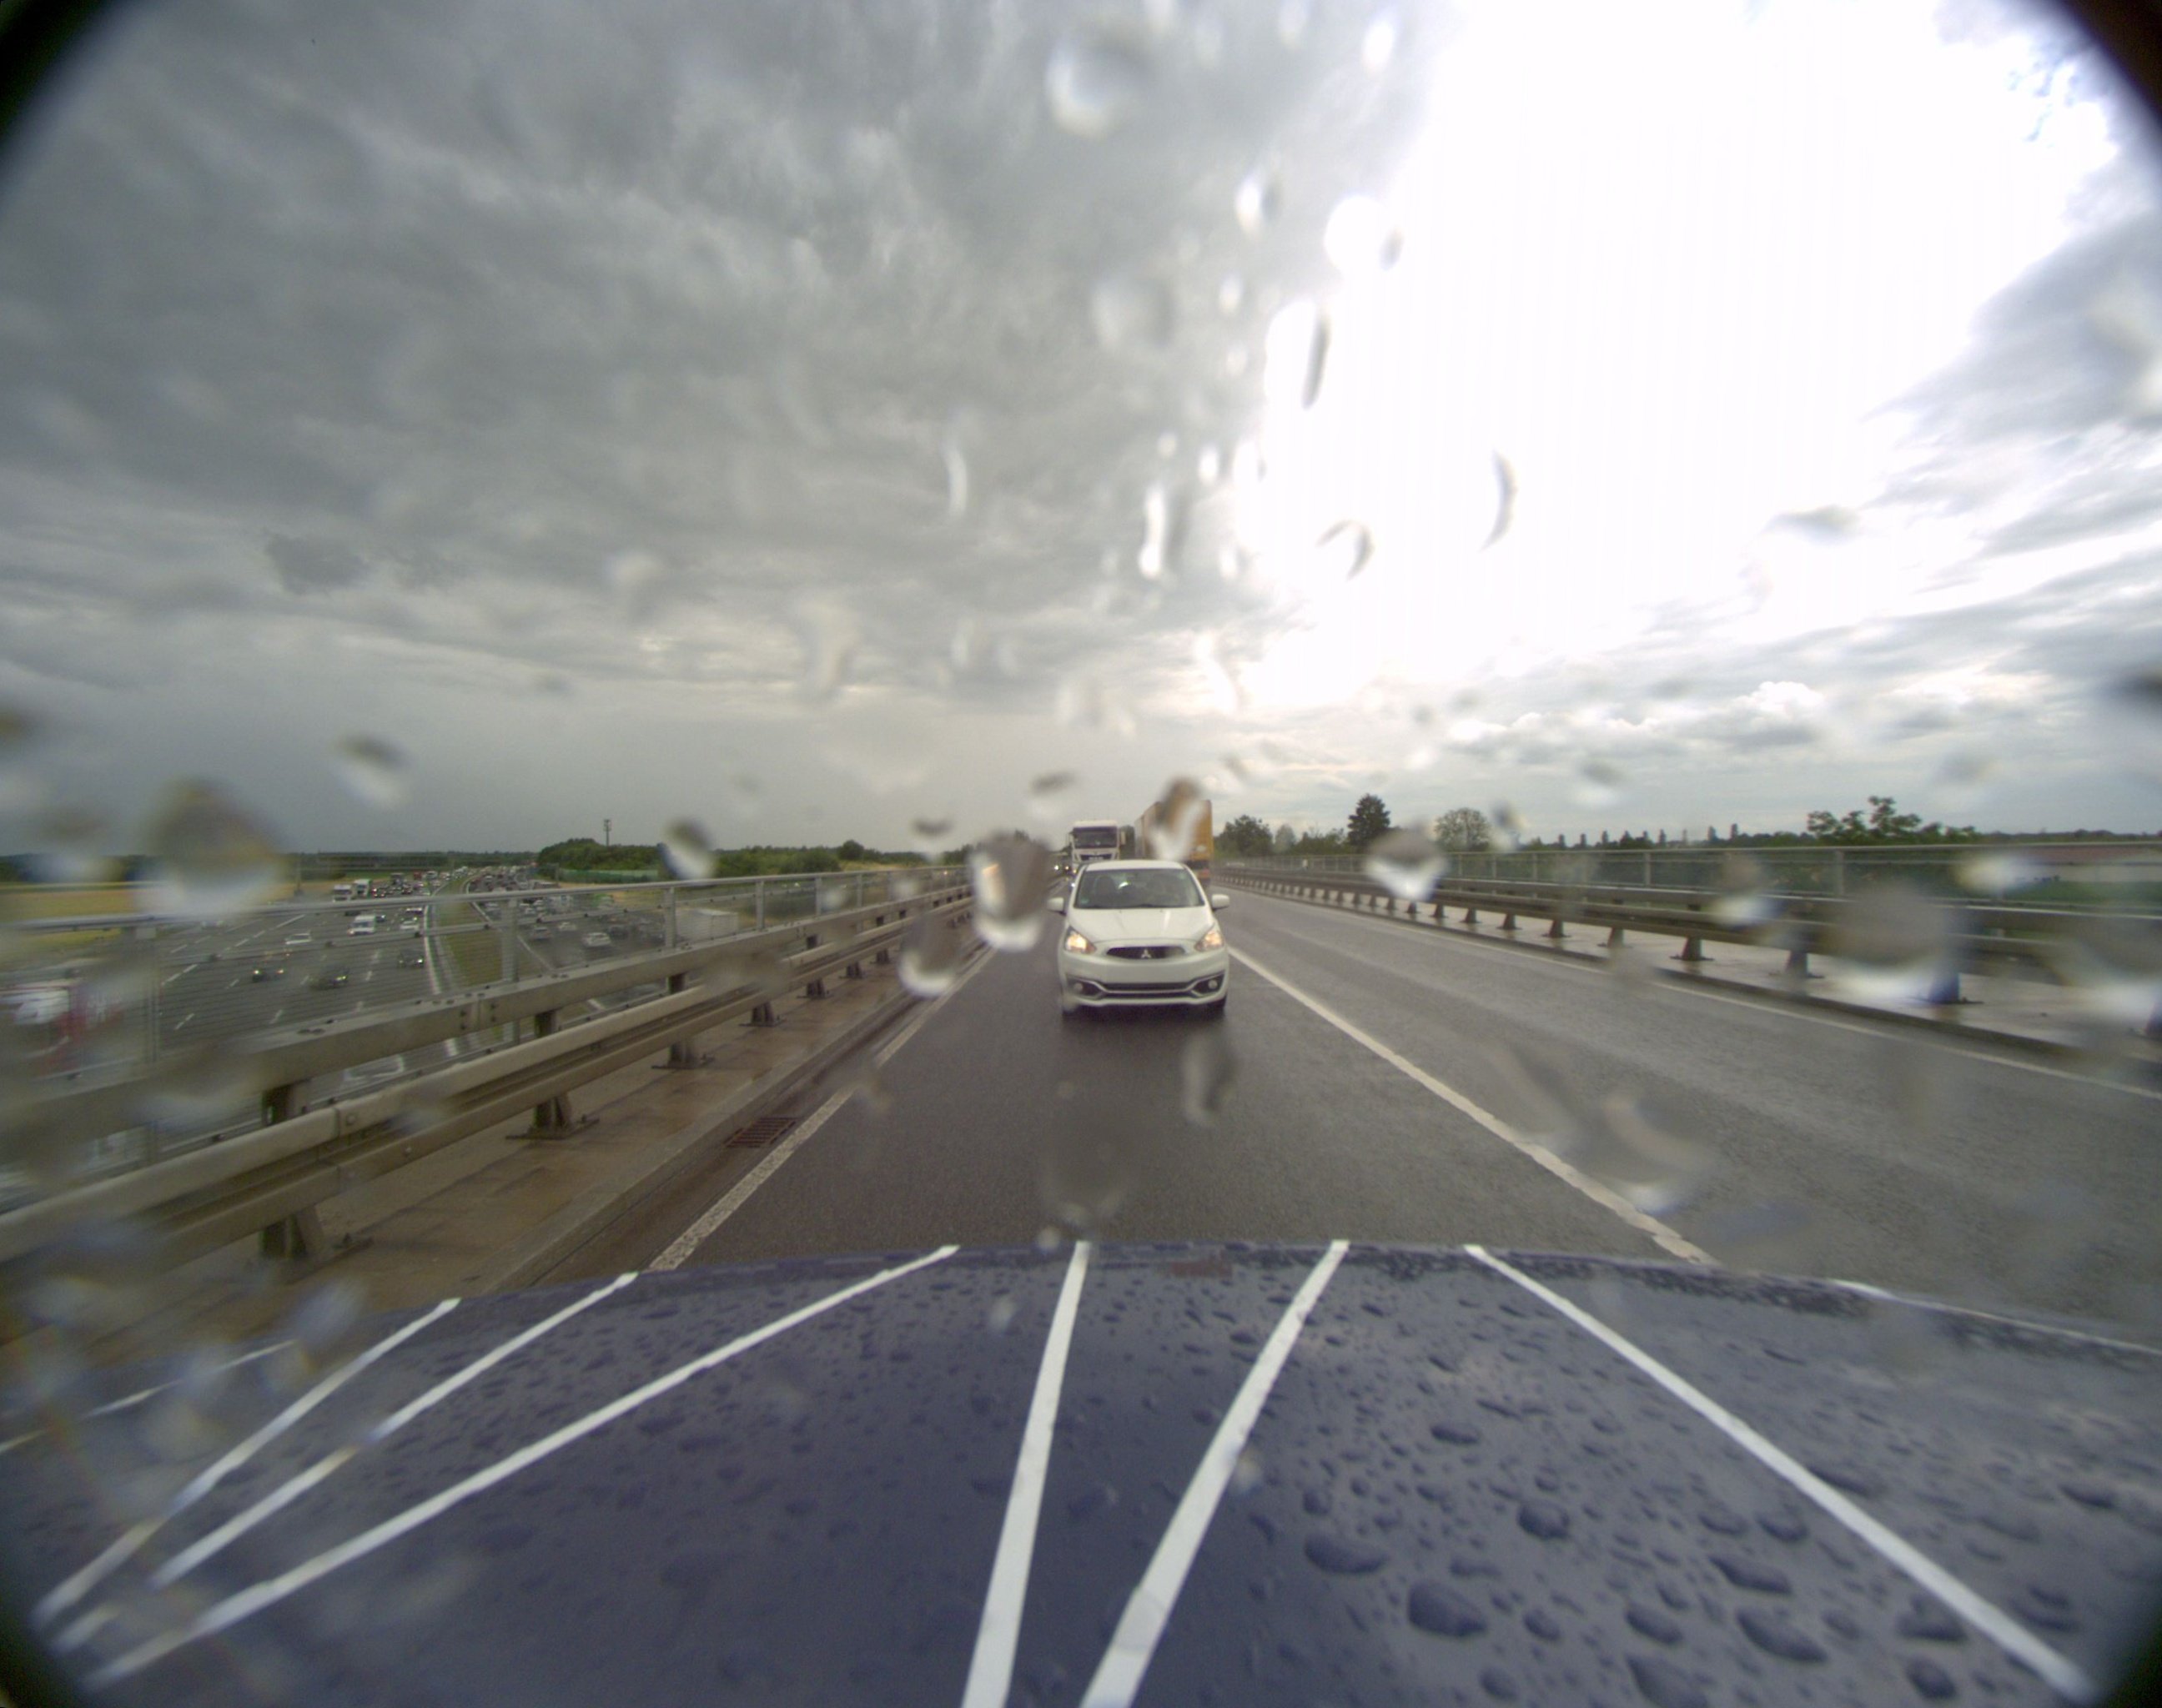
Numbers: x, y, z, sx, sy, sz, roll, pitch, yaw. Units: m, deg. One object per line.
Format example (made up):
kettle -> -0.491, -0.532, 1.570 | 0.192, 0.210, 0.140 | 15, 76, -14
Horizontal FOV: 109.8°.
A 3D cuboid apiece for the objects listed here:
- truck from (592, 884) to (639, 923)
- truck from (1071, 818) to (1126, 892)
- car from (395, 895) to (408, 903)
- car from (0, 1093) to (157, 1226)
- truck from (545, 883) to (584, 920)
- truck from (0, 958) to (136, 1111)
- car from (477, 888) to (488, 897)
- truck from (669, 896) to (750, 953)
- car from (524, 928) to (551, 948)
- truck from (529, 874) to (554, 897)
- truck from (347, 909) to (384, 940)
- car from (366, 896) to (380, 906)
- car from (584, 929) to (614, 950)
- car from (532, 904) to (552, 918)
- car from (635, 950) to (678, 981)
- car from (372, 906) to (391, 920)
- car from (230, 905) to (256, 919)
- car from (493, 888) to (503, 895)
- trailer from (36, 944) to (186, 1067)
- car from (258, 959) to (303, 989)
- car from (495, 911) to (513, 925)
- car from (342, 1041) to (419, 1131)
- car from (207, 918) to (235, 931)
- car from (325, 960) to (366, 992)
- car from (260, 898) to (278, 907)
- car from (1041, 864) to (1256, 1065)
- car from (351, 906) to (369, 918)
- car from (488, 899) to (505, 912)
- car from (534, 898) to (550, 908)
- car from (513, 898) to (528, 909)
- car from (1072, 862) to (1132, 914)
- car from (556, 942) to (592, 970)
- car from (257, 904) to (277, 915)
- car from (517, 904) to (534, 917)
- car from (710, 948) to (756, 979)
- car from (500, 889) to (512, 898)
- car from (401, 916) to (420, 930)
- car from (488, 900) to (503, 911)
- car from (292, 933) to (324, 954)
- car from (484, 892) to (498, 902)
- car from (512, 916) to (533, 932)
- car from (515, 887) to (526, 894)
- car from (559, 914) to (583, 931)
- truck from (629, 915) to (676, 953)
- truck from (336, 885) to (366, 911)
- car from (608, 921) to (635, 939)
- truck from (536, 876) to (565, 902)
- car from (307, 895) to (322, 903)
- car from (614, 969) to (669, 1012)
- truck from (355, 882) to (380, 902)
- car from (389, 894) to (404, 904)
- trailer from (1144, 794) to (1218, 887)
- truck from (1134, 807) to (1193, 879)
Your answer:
truck -> -69.324, 7.161, 112.988 | 3.302, 5.135, 15.588 | -3, 1, -41
truck -> 0.835, -0.138, 41.687 | 2.631, 3.537, 8.474 | -2, 3, 0
car -> -147.641, 9.763, 165.183 | 1.860, 1.659, 4.712 | -3, 1, -40
car -> -27.801, 8.329, 21.156 | 1.818, 1.873, 4.711 | -3, 1, -41
truck -> -84.424, 7.579, 123.939 | 3.302, 5.411, 15.588 | -3, 1, -41
truck -> -42.733, 7.180, 31.401 | 2.691, 4.599, 9.727 | -3, 1, -41
car -> -145.845, 9.371, 185.098 | 1.860, 1.764, 4.712 | -3, 1, -40
truck -> -37.316, 6.770, 75.802 | 3.611, 4.511, 15.588 | -3, 1, -39
car -> -58.198, 8.947, 81.309 | 1.860, 1.659, 4.712 | -3, 1, -40
truck -> -132.710, 7.652, 186.725 | 3.500, 5.321, 15.588 | -3, 1, -41
truck -> -85.606, 8.363, 91.062 | 2.601, 3.161, 8.373 | -3, 1, -40
car -> -146.583, 9.727, 157.299 | 1.860, 1.659, 4.712 | -3, 1, -40
car -> -48.899, 8.642, 77.076 | 1.860, 1.659, 4.712 | -3, 1, -40
car -> -77.688, 8.220, 109.499 | 1.860, 1.764, 4.712 | -3, 1, -40
car -> -31.799, 8.283, 56.880 | 1.860, 1.659, 4.712 | -3, 1, -40
car -> -104.287, 8.768, 113.351 | 1.818, 1.659, 4.712 | -3, 1, -41
car -> -123.781, 8.526, 112.272 | 1.860, 1.659, 4.712 | -3, 1, -40
car -> -151.208, 9.699, 197.020 | 1.860, 1.764, 4.712 | -3, 1, -40
trailer -> -49.098, 7.360, 38.827 | 2.691, 4.602, 9.882 | -3, 1, -41
car -> -62.192, 9.288, 59.092 | 1.818, 1.659, 4.712 | -3, 1, -41
car -> -86.623, 9.613, 114.125 | 1.860, 1.659, 4.712 | -3, 1, -40
car -> -24.956, 8.166, 27.185 | 1.818, 1.836, 4.711 | -3, 1, -41
car -> -114.520, 9.364, 101.235 | 1.818, 1.427, 4.711 | -3, 1, -41
car -> -54.681, 9.027, 56.556 | 1.818, 1.659, 4.712 | -3, 1, -41
car -> -147.650, 8.860, 138.179 | 1.818, 1.427, 4.711 | -3, 1, -41
car -> 0.566, 0.923, 8.188 | 1.675, 1.476, 4.129 | -2, 0, 1
car -> -119.329, 9.628, 125.802 | 1.860, 1.659, 4.712 | -3, 1, -40
car -> -94.229, 8.257, 122.536 | 1.860, 1.764, 4.712 | -3, 1, -40
car -> -101.219, 9.186, 142.673 | 1.860, 1.764, 4.712 | -3, 1, -40
car -> -106.439, 9.382, 144.211 | 1.860, 1.764, 4.712 | -3, 1, -40
car -> 0.624, 1.001, 23.882 | 1.675, 1.366, 4.129 | -2, 0, 1
car -> -41.579, 8.333, 62.285 | 1.860, 1.659, 4.712 | -3, 1, -40
car -> -137.988, 9.386, 128.857 | 1.818, 1.427, 4.711 | -3, 1, -41
car -> -94.861, 9.617, 129.722 | 1.860, 1.764, 4.712 | -3, 1, -40
car -> -25.842, 8.072, 56.372 | 1.860, 1.659, 4.712 | -3, 1, -40
car -> -131.402, 9.082, 173.569 | 1.860, 1.764, 4.712 | -3, 1, -40
car -> -98.072, 10.075, 111.160 | 1.860, 1.659, 4.712 | -3, 1, -40
car -> -106.971, 9.425, 138.805 | 1.860, 1.764, 4.712 | -3, 1, -40
car -> -78.759, 9.119, 77.496 | 1.818, 1.659, 4.712 | -3, 1, -41
car -> -116.180, 8.521, 149.560 | 1.860, 1.764, 4.712 | -3, 1, -40
car -> -72.770, 9.123, 98.962 | 1.860, 1.659, 4.712 | -3, 1, -40
car -> -139.921, 9.110, 189.664 | 1.860, 1.764, 4.712 | -3, 1, -40
car -> -62.449, 8.360, 92.982 | 1.860, 1.659, 4.712 | -3, 1, -40
truck -> -42.203, 7.758, 74.717 | 2.216, 2.948, 9.283 | -3, 1, -40
truck -> -150.692, 8.971, 156.990 | 2.799, 4.871, 12.724 | -3, 1, -37
car -> -52.619, 8.698, 87.003 | 1.860, 1.659, 4.712 | -3, 1, -40
truck -> -116.368, 7.524, 166.493 | 3.500, 5.321, 15.588 | -3, 1, -41
car -> -158.817, 9.373, 157.377 | 1.818, 1.427, 4.711 | -3, 1, -41
car -> -25.508, 7.869, 44.018 | 1.860, 1.659, 4.712 | -3, 1, -40
truck -> -177.478, 9.424, 189.069 | 2.799, 4.591, 12.724 | -3, 1, -37
car -> -134.781, 8.880, 149.602 | 1.860, 1.659, 4.712 | -3, 1, -40
trailer -> 4.834, -0.612, 38.284 | 2.689, 4.051, 8.485 | -2, 0, 1
truck -> 4.993, -0.623, 47.533 | 2.689, 3.993, 10.055 | -2, 0, 1
